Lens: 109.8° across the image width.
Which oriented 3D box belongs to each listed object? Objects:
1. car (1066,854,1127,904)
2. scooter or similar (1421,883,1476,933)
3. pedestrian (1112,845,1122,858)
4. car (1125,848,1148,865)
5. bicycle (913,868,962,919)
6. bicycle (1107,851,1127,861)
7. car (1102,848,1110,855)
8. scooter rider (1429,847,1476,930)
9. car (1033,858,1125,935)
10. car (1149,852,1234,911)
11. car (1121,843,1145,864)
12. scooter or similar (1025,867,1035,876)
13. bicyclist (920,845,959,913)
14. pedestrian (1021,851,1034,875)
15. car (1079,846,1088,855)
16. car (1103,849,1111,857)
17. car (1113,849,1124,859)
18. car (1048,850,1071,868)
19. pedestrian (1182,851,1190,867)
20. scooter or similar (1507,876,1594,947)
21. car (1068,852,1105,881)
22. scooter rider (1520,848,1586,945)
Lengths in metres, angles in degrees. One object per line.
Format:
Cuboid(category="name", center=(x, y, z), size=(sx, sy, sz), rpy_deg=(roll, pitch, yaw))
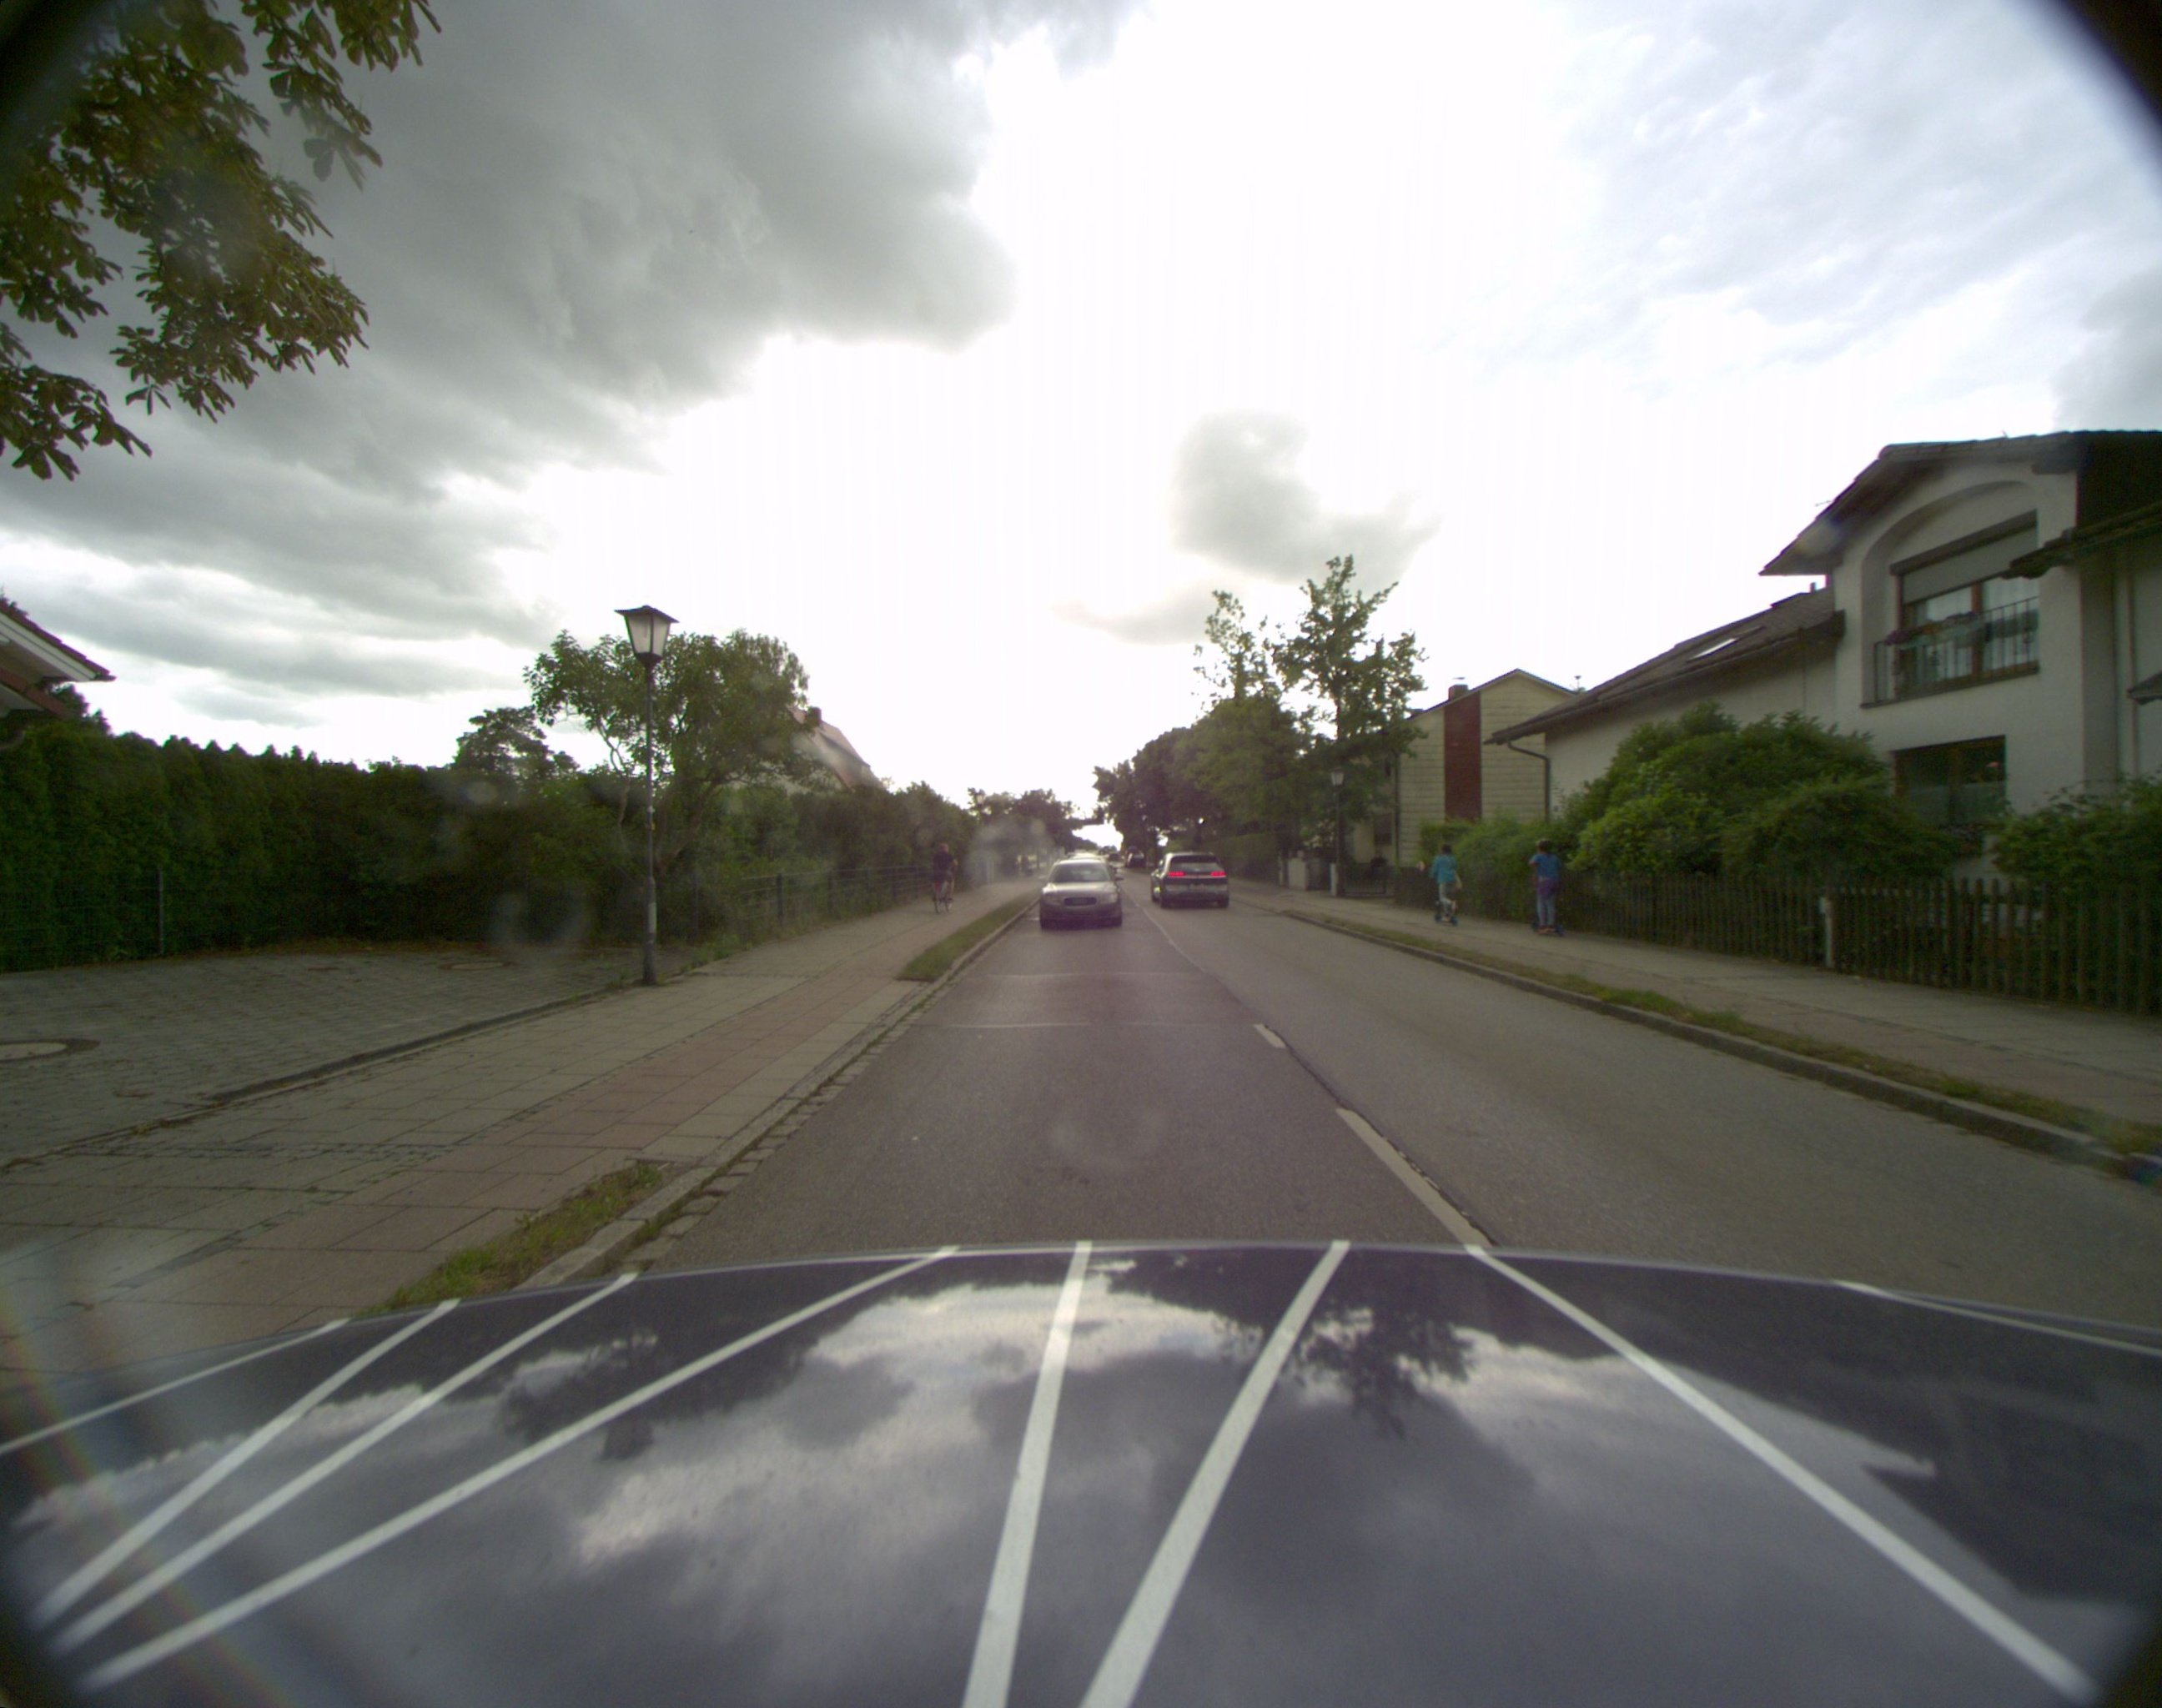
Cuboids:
Cuboid(category="car", center=(0.504, 0.786, 26.432), size=(1.866, 1.518, 4.942), rpy_deg=(-1, 0, 0))
Cuboid(category="scooter or similar", center=(6.843, 0.983, 14.178), size=(0.522, 0.845, 1.061), rpy_deg=(-1, 0, 1))
Cuboid(category="pedestrian", center=(5.699, -0.351, 120.357), size=(1.252, 2.002, 1.023), rpy_deg=(-2, 1, 23))
Cuboid(category="car", center=(5.915, 0.288, 80.943), size=(1.999, 1.739, 3.999), rpy_deg=(-1, 0, -2))
Cuboid(category="bicycle", center=(-3.489, 0.935, 18.630), size=(0.766, 1.136, 1.845), rpy_deg=(1, 0, 2))
Cuboid(category="bicycle", center=(5.723, 0.323, 120.409), size=(2.911, 1.541, 0.941), rpy_deg=(-1, 1, 23))
Cuboid(category="car", center=(6.649, -0.570, 203.874), size=(1.904, 1.873, 5.010), rpy_deg=(-1, 0, 1))
Cuboid(category="scooter rider", center=(6.820, 0.619, 13.964), size=(0.504, 1.481, 0.716), rpy_deg=(-1, 1, 1))
Cuboid(category="car", center=(-0.027, 0.860, 17.313), size=(1.809, 1.476, 4.270), rpy_deg=(-1, 0, 0))
Cuboid(category="car", center=(3.205, 0.751, 22.807), size=(1.935, 1.566, 4.311), rpy_deg=(0, 0, 0))
Cuboid(category="car", center=(5.905, -0.058, 86.781), size=(2.246, 2.258, 4.469), rpy_deg=(-1, 0, -2))
Cuboid(category="scooter or similar", center=(-3.287, 1.147, 49.142), size=(0.618, 0.553, 0.742), rpy_deg=(-1, 0, -5))
Cuboid(category="bicyclist", center=(-3.466, 0.591, 18.700), size=(0.738, 1.623, 0.891), rpy_deg=(1, 1, 3))
Cuboid(category="pedestrian", center=(-3.478, 0.596, 49.803), size=(0.793, 1.592, 0.671), rpy_deg=(-1, 1, -2))
Cuboid(category="car", center=(0.555, -0.832, 175.147), size=(1.998, 2.002, 4.000), rpy_deg=(-1, 0, 0))
Cuboid(category="car", center=(6.124, -0.275, 177.618), size=(1.904, 1.873, 5.010), rpy_deg=(-1, 0, 1))
Cuboid(category="car", center=(7.241, 0.011, 146.761), size=(1.969, 1.842, 4.947), rpy_deg=(-1, 0, 1))
Cuboid(category="car", center=(-1.755, 0.400, 63.512), size=(1.867, 1.518, 4.122), rpy_deg=(-1, 0, -1))
Cuboid(category="pedestrian", center=(9.488, 0.414, 68.437), size=(0.631, 1.429, 0.563), rpy_deg=(-1, 1, 0))
Cuboid(category="scooter or similar", center=(7.400, 0.883, 12.023), size=(0.663, 1.031, 1.178), rpy_deg=(-1, 0, 2))
Cuboid(category="car", center=(0.305, 0.650, 41.776), size=(1.866, 1.518, 4.122), rpy_deg=(-1, 0, 0))
Cuboid(category="scooter rider", center=(7.402, 0.653, 11.935), size=(0.664, 1.464, 0.581), rpy_deg=(-1, 1, 1))
